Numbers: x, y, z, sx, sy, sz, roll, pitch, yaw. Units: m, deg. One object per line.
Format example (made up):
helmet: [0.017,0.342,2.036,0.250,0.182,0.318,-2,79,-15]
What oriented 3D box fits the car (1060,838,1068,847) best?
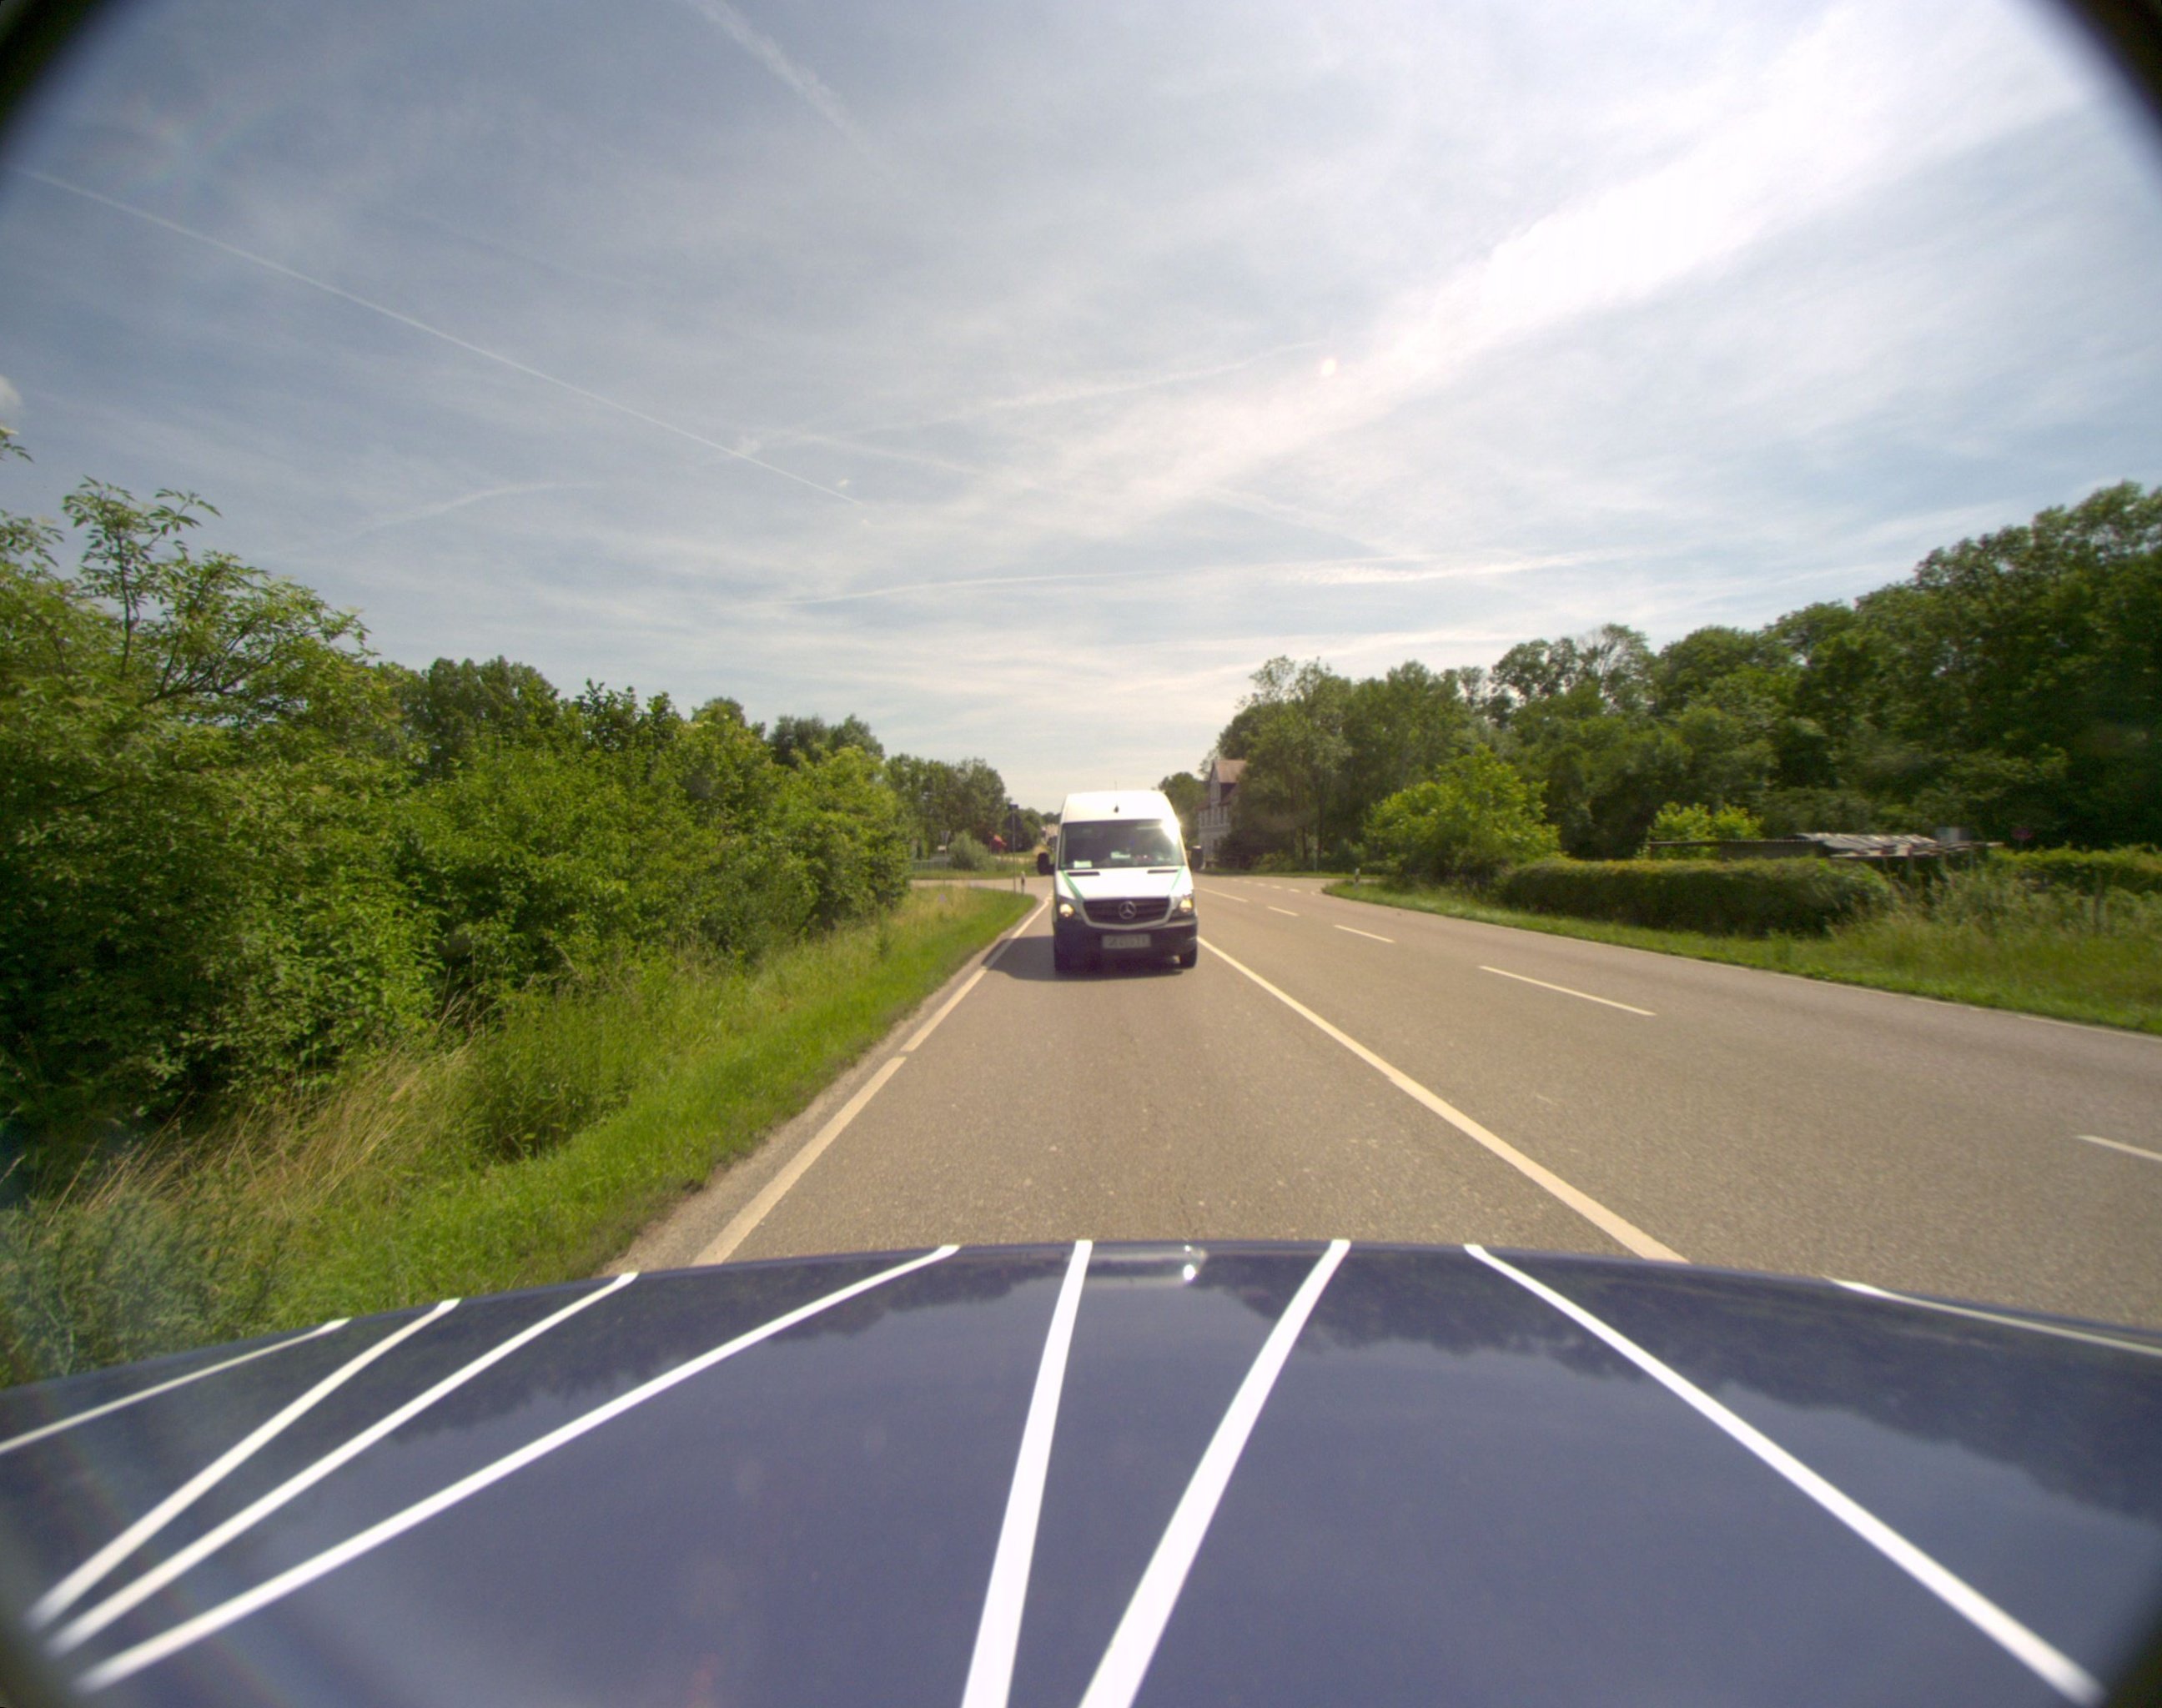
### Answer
car: [-4.205,-2.891,190.843,1.999,2.166,3.999,-2,1,-1]

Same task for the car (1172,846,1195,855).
car: [16.743,-0.569,123.691,3.387,1.457,1.609,-2,2,-7]

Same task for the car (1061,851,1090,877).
car: [-0.400,0.681,52.065,1.848,1.692,4.242,0,0,-1]

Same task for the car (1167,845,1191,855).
car: [17.277,-0.748,133.739,4.037,1.609,1.832,-2,2,0]

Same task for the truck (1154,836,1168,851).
truck: [16.327,-2.231,154.724,2.031,2.947,6.770,-2,2,0]

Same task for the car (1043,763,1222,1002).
car: [0.529,0.319,11.499,1.961,2.655,5.679,-2,0,-1]
